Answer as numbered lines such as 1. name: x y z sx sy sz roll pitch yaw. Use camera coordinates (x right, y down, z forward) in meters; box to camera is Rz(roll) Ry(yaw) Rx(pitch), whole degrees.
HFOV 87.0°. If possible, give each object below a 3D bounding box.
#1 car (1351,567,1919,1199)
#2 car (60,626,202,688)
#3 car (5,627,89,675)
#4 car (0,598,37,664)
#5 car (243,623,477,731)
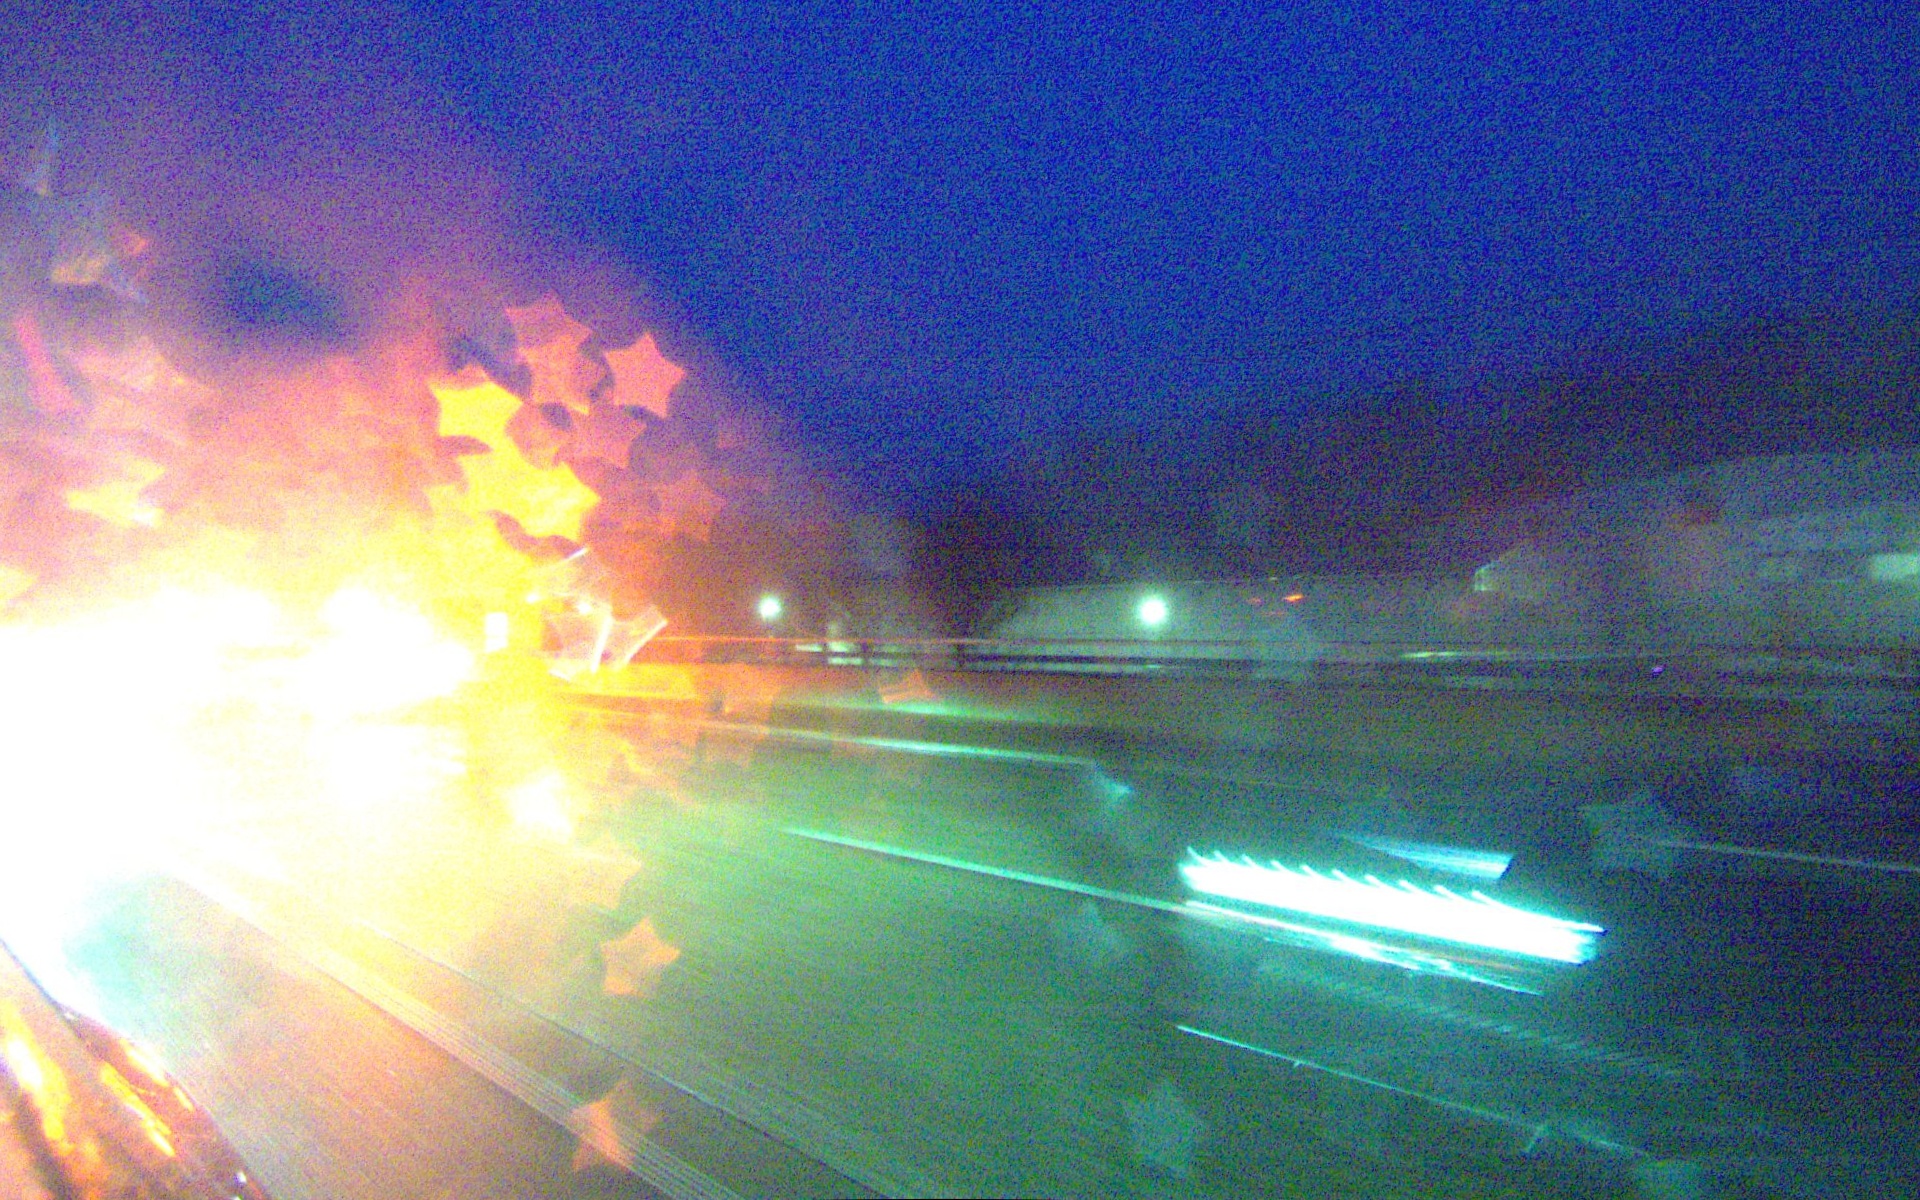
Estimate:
1. car: 3.199 0.619 1.882 4.289 1.445 1.678 -2 -1 40
2. car: -22.090 1.454 26.901 4.988 1.460 2.056 -2 -1 40
3. car: -32.612 1.776 36.119 3.987 1.548 1.858 -2 -1 42
4. car: -41.958 1.340 43.870 6.236 2.728 2.101 -2 -1 40
5. car: -9.725 1.143 16.255 4.543 1.455 1.898 -2 -1 41
